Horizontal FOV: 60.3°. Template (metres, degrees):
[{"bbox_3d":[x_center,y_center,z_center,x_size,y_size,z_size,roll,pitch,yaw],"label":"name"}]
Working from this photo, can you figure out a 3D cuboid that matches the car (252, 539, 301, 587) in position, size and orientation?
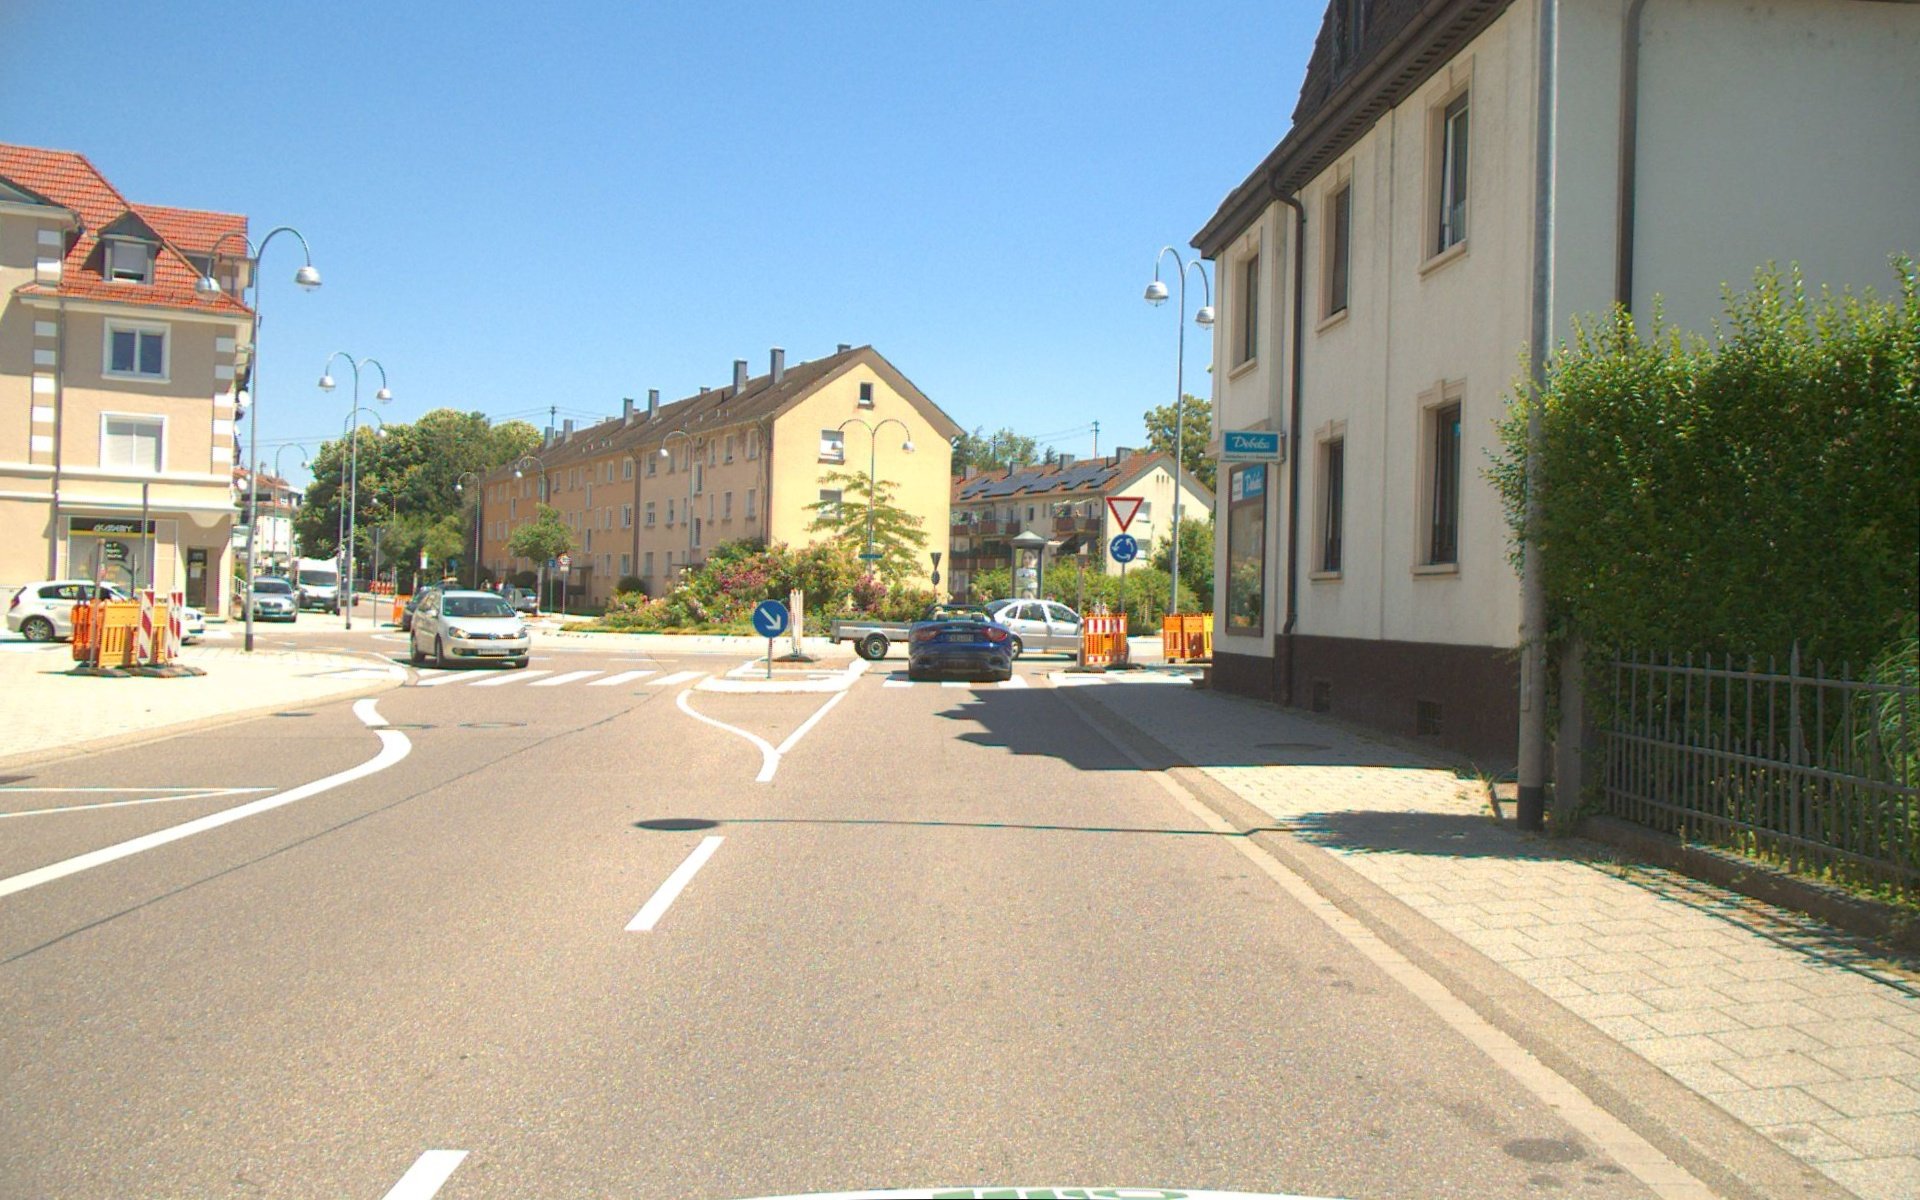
[{"bbox_3d":[-39.556,-2.089,95.630,2.119,2.577,4.812,4,-1,-27],"label":"car"}]

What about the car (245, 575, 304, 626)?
[{"bbox_3d":[-24.727,0.008,59.557,1.753,1.715,4.657,2,0,-25],"label":"car"}]

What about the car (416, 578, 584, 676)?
[{"bbox_3d":[-9.211,0.488,33.502,1.799,1.556,4.397,-4,3,4],"label":"car"}]

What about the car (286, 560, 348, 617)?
[{"bbox_3d":[-31.495,-0.541,80.863,2.119,2.577,6.183,4,-1,-27],"label":"car"}]

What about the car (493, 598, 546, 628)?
[{"bbox_3d":[-24.067,0.687,90.293,1.793,1.526,3.959,3,-1,-30],"label":"car"}]

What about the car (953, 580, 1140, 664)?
[{"bbox_3d":[2.066,0.530,39.166,4.072,1.777,1.769,3,-1,-31],"label":"car"}]

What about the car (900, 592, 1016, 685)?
[{"bbox_3d":[-0.120,0.729,30.741,1.834,1.557,4.502,2,-2,-4],"label":"car"}]

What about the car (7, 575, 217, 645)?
[{"bbox_3d":[-19.848,0.233,38.874,4.045,1.578,1.781,0,0,-14],"label":"car"}]

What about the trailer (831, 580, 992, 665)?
[{"bbox_3d":[-1.098,0.502,37.334,3.152,1.747,1.740,3,-1,-29],"label":"trailer"}]
